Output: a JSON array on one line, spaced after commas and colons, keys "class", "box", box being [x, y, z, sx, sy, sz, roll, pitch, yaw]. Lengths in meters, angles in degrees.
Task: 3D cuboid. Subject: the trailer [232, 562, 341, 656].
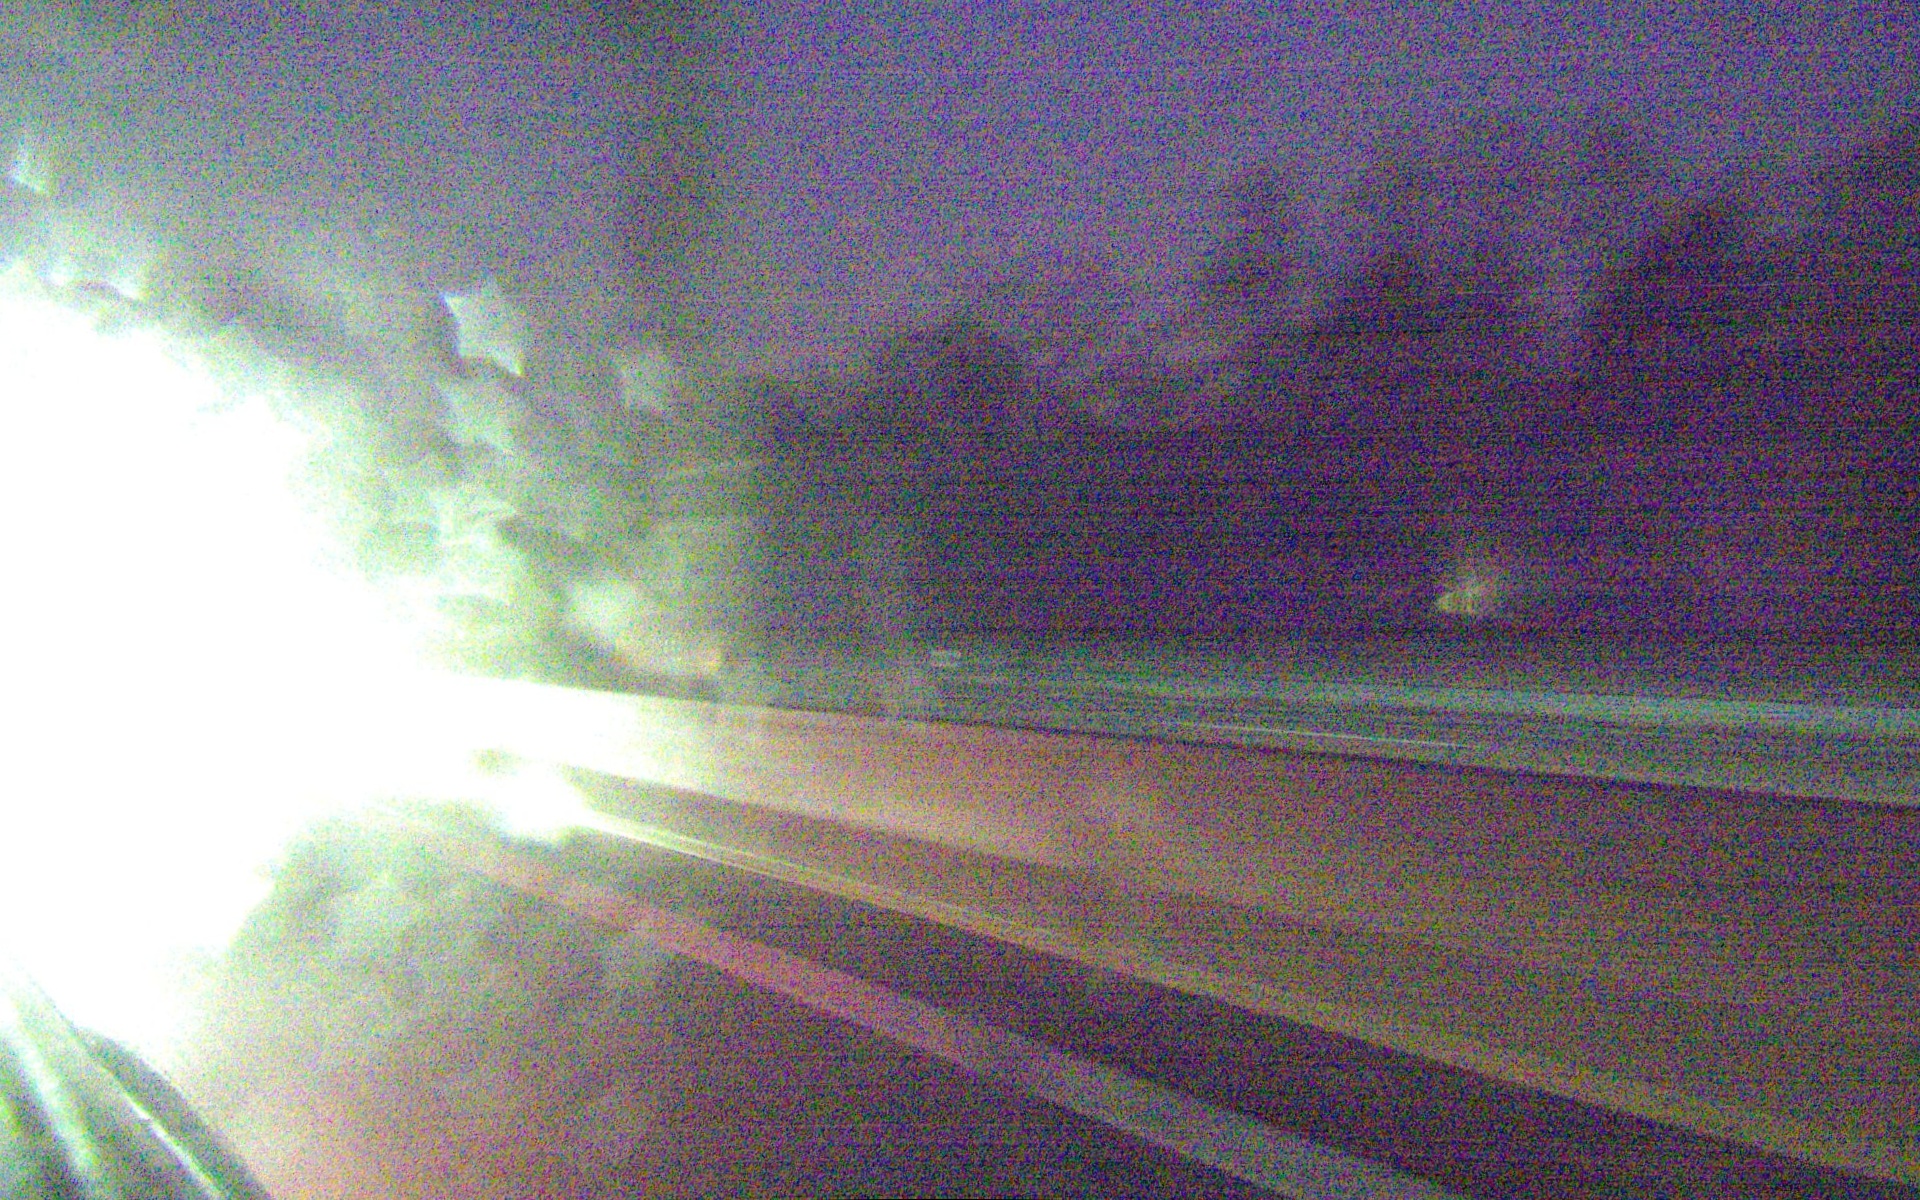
[{"class": "trailer", "box": [-37.993, 0.574, 56.912, 10.164, 4.860, 2.381, -2, -1, 41]}]

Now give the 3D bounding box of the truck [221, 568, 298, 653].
[{"class": "truck", "box": [-41.609, 0.646, 60.052, 5.384, 4.848, 2.401, -2, -1, 41]}]
